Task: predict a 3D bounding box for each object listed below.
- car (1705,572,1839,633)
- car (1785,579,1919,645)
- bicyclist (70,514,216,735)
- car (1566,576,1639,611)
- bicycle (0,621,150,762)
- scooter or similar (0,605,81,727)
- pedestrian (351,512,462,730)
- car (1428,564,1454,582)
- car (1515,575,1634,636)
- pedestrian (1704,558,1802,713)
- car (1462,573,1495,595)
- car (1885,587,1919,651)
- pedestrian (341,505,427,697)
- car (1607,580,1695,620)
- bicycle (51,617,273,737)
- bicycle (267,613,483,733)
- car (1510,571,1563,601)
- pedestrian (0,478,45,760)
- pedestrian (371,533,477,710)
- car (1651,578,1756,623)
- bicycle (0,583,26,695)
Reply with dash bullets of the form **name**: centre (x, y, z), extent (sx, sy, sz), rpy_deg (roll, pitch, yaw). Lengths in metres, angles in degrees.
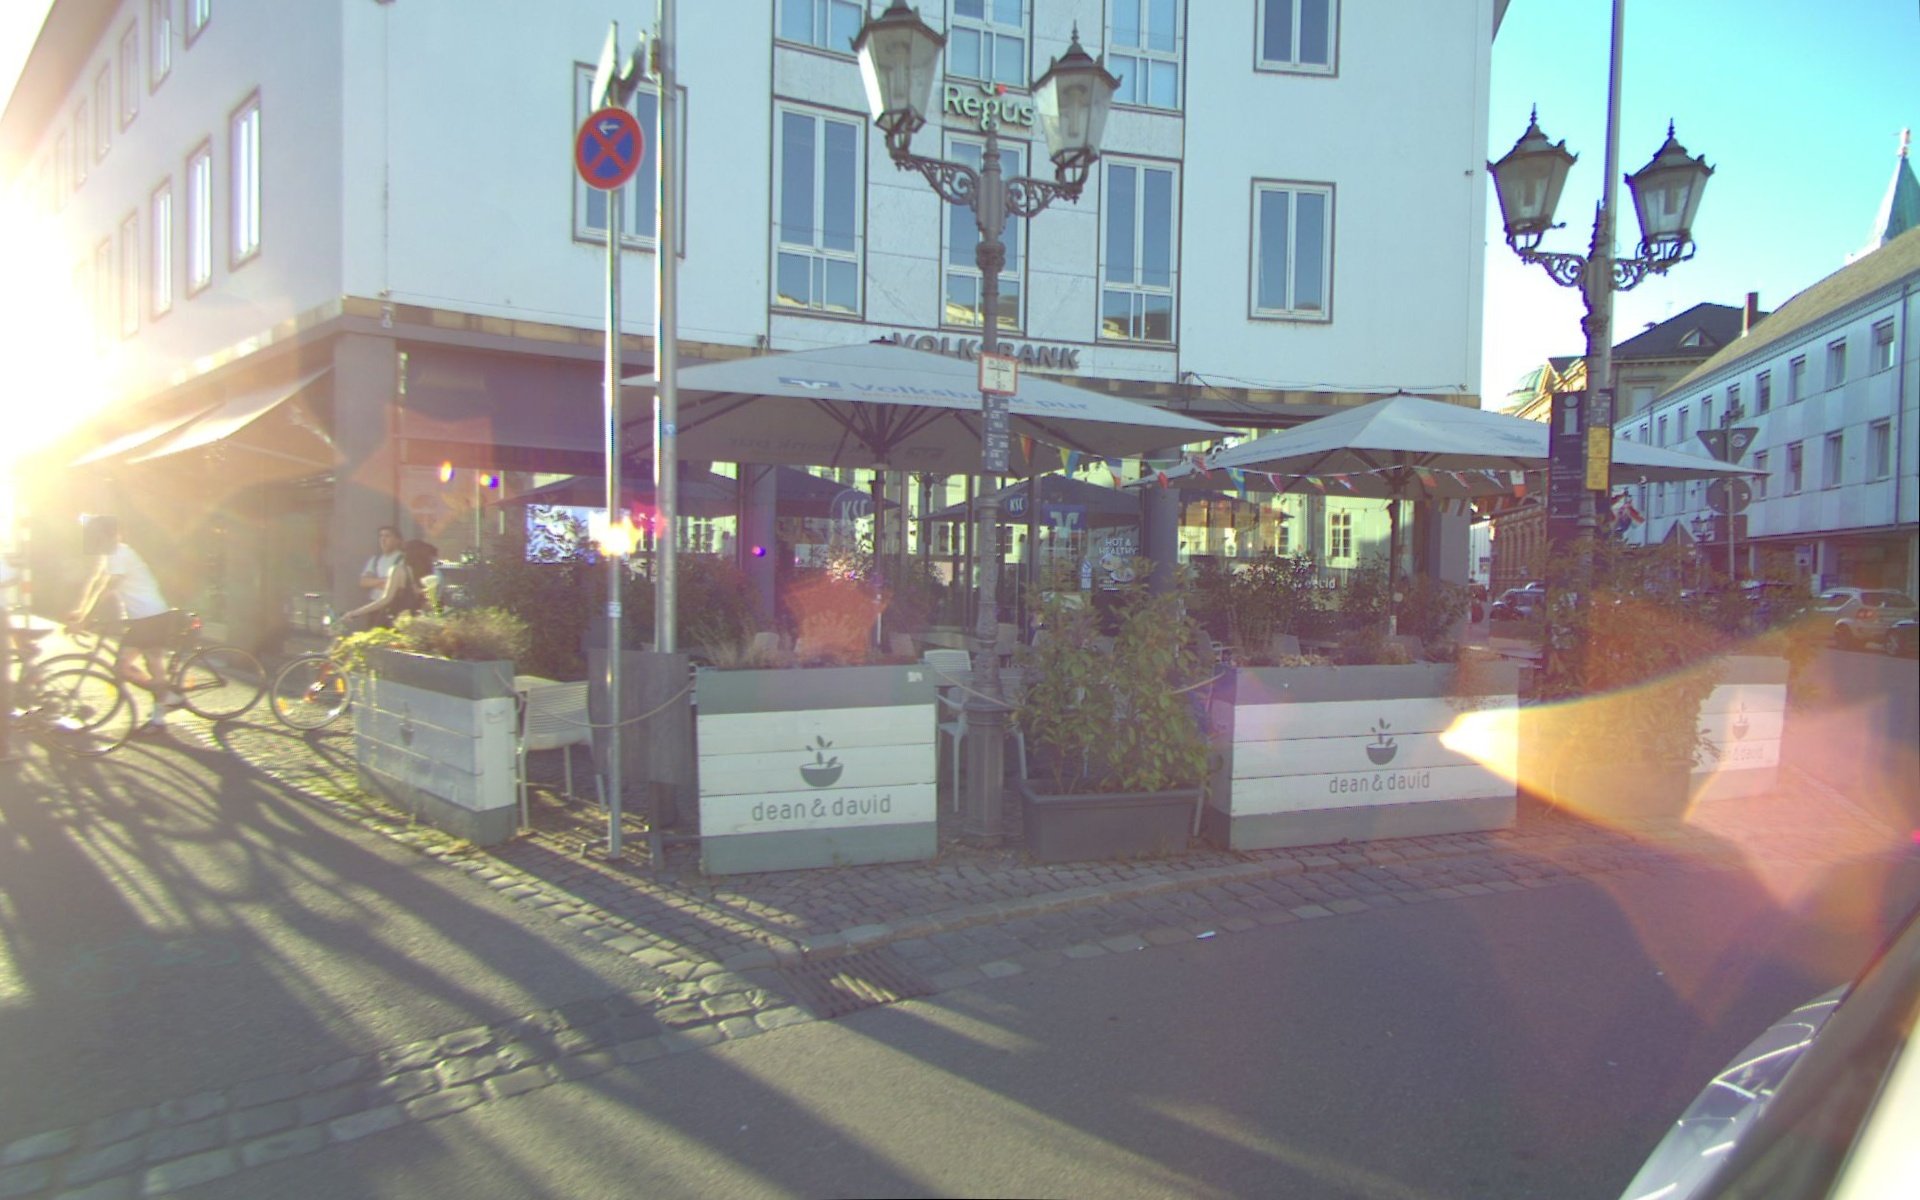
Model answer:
- **car**: centre (25.716, 0.006, 32.256), extent (1.758, 1.749, 4.307), rpy_deg (1, 2, 16)
- **car**: centre (23.744, 0.260, 26.584), extent (1.758, 1.534, 3.941), rpy_deg (1, 2, 16)
- **bicyclist**: centre (-6.860, 0.180, 8.523), extent (0.476, 1.764, 0.830), rpy_deg (1, 2, 20)
- **car**: centre (30.564, -0.345, 48.284), extent (1.758, 1.510, 4.307), rpy_deg (1, 2, 16)
- **bicycle**: centre (-6.874, 0.653, 7.246), extent (1.645, 0.945, 0.474), rpy_deg (-1, 2, -35)
- **scooter or similar**: centre (-8.465, 0.577, 8.828), extent (1.184, 1.024, 0.486), rpy_deg (-1, 2, -41)
- **pedestrian**: centre (-4.893, 0.160, 8.967), extent (0.502, 1.840, 0.714), rpy_deg (1, 2, 20)
- **car**: centre (48.254, -2.717, 101.543), extent (1.759, 1.687, 4.304), rpy_deg (1, 2, 18)
- **car**: centre (16.168, 0.076, 26.854), extent (1.758, 1.442, 3.940), rpy_deg (1, 2, 17)
- **pedestrian**: centre (9.136, 0.382, 11.682), extent (0.595, 1.721, 0.711), rpy_deg (1, 2, 13)
- **car**: centre (42.840, -1.332, 83.694), extent (1.759, 1.687, 4.304), rpy_deg (1, 2, 18)
- **car**: centre (22.538, 0.490, 22.163), extent (1.758, 1.442, 3.941), rpy_deg (1, 2, 16)
- **pedestrian**: centre (-6.019, -0.002, 10.583), extent (0.573, 1.947, 0.539), rpy_deg (1, 2, 20)
- **car**: centre (29.119, -0.058, 42.793), extent (1.758, 1.510, 4.307), rpy_deg (1, 2, 16)
- **bicycle**: centre (-6.801, 0.616, 8.706), extent (0.476, 0.858, 1.474), rpy_deg (1, 2, 20)
- **bicycle**: centre (-5.203, 0.611, 9.053), extent (1.645, 0.945, 0.474), rpy_deg (-1, 2, -35)
- **car**: centre (34.524, -0.887, 60.694), extent (1.758, 1.687, 4.307), rpy_deg (1, 2, 16)
- **pedestrian**: centre (-6.921, 0.124, 7.144), extent (0.643, 1.952, 0.618), rpy_deg (2, 2, 42)
- **pedestrian**: centre (-5.344, 0.190, 10.115), extent (0.612, 1.697, 0.729), rpy_deg (1, 2, 20)
- **car**: centre (27.767, -0.042, 37.955), extent (1.758, 1.510, 4.307), rpy_deg (1, 2, 16)
- **bicycle**: centre (-10.939, 0.395, 11.209), extent (1.953, 1.155, 0.515), rpy_deg (2, 2, 37)
